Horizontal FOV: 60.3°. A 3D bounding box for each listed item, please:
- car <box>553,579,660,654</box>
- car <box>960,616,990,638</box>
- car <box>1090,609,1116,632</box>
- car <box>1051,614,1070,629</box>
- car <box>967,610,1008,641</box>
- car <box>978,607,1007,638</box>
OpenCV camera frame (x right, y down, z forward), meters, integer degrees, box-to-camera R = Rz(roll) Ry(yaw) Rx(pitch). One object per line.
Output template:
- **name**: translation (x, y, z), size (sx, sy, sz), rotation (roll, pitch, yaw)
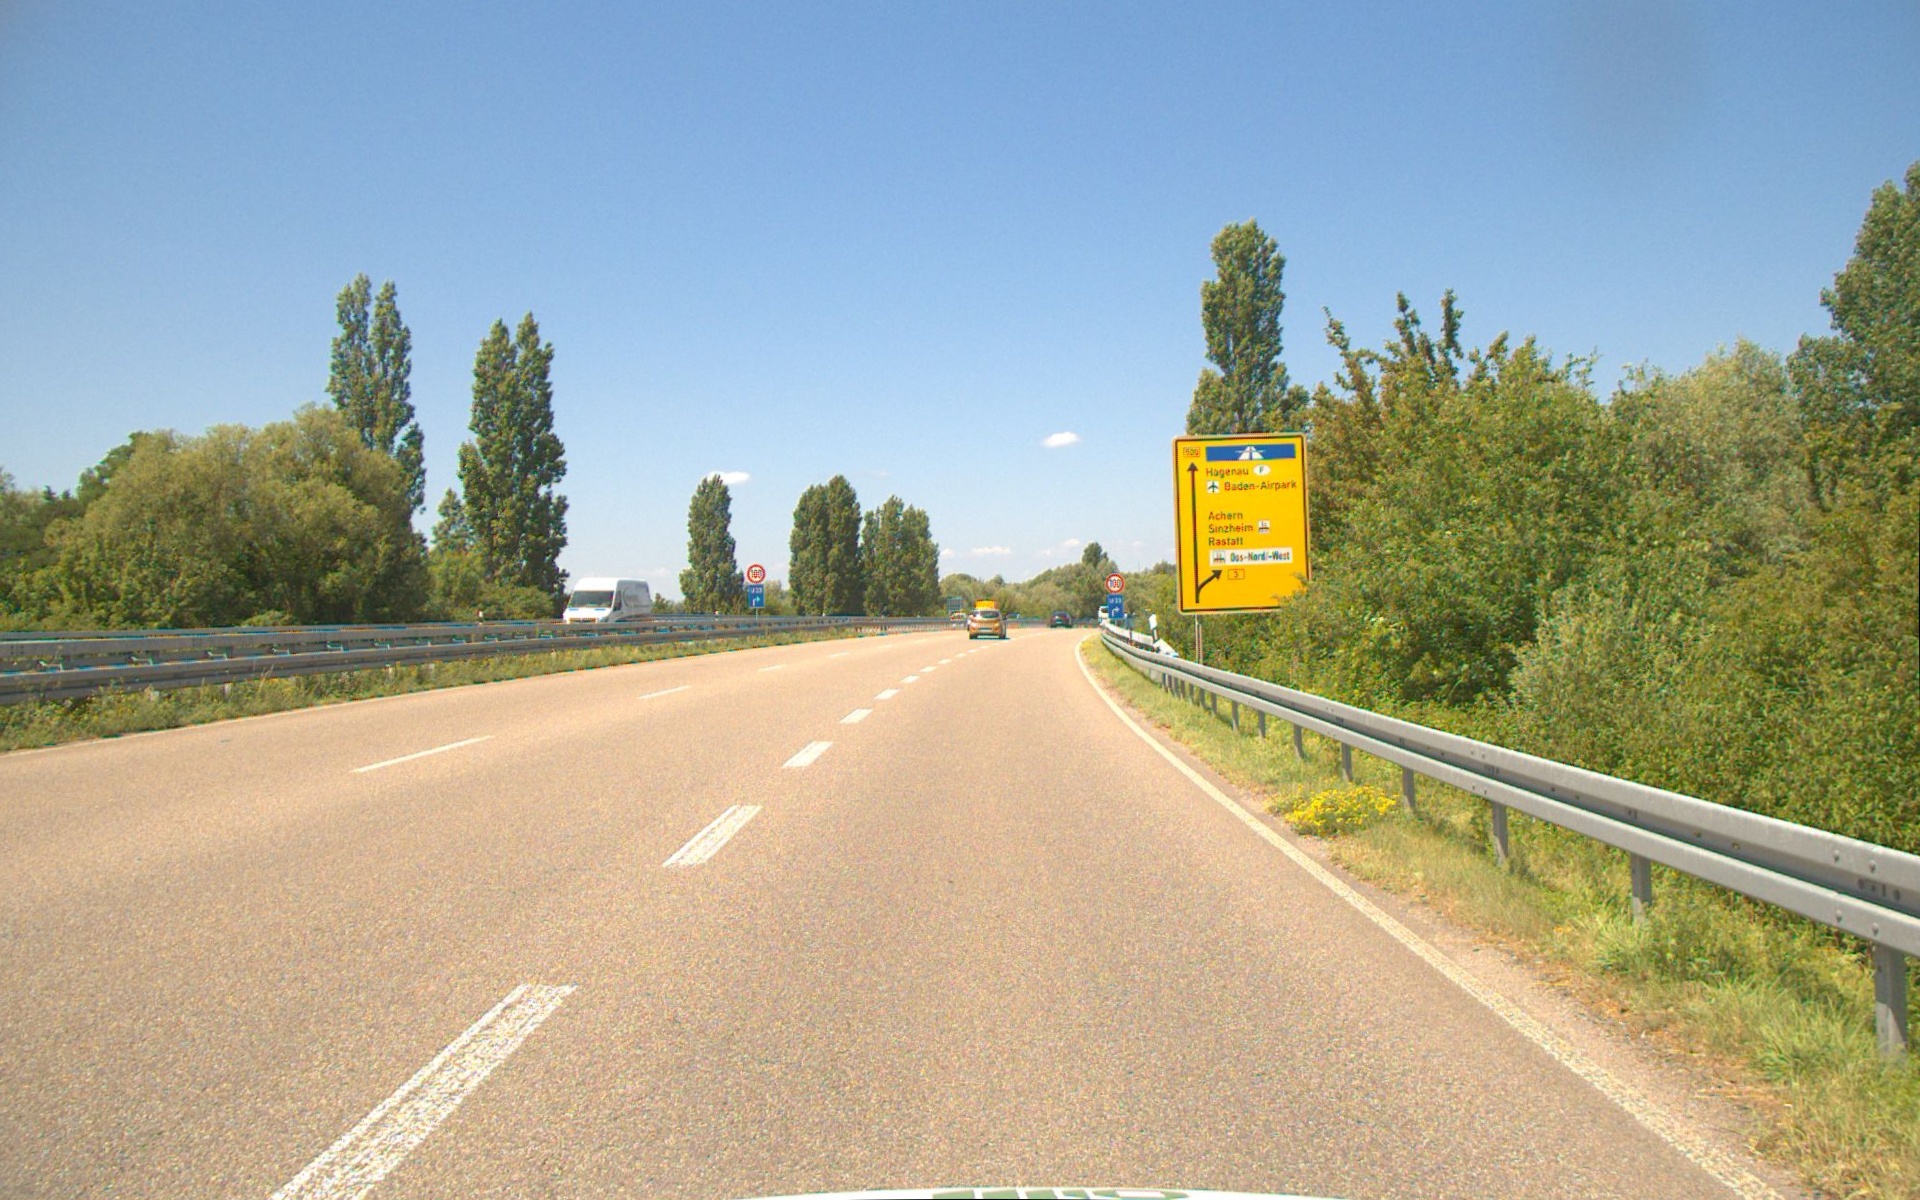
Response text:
- **car**: translation (-14.159, 0.745, 66.761), size (2.231, 2.822, 7.225), rotation (-1, -2, 5)
- **car**: translation (1.054, 1.893, 115.848), size (1.802, 1.476, 4.002), rotation (1, 0, 4)
- **car**: translation (12.706, 1.803, 146.588), size (1.802, 1.929, 4.003), rotation (1, 0, 11)
- **car**: translation (10.295, 2.214, 169.610), size (1.903, 1.490, 4.002), rotation (1, 0, 4)
- **car**: translation (1.401, 1.245, 82.586), size (1.802, 1.490, 4.002), rotation (1, 0, 4)
- **car**: translation (3.721, 2.565, 188.044), size (2.256, 3.349, 7.033), rotation (-1, -1, 9)
